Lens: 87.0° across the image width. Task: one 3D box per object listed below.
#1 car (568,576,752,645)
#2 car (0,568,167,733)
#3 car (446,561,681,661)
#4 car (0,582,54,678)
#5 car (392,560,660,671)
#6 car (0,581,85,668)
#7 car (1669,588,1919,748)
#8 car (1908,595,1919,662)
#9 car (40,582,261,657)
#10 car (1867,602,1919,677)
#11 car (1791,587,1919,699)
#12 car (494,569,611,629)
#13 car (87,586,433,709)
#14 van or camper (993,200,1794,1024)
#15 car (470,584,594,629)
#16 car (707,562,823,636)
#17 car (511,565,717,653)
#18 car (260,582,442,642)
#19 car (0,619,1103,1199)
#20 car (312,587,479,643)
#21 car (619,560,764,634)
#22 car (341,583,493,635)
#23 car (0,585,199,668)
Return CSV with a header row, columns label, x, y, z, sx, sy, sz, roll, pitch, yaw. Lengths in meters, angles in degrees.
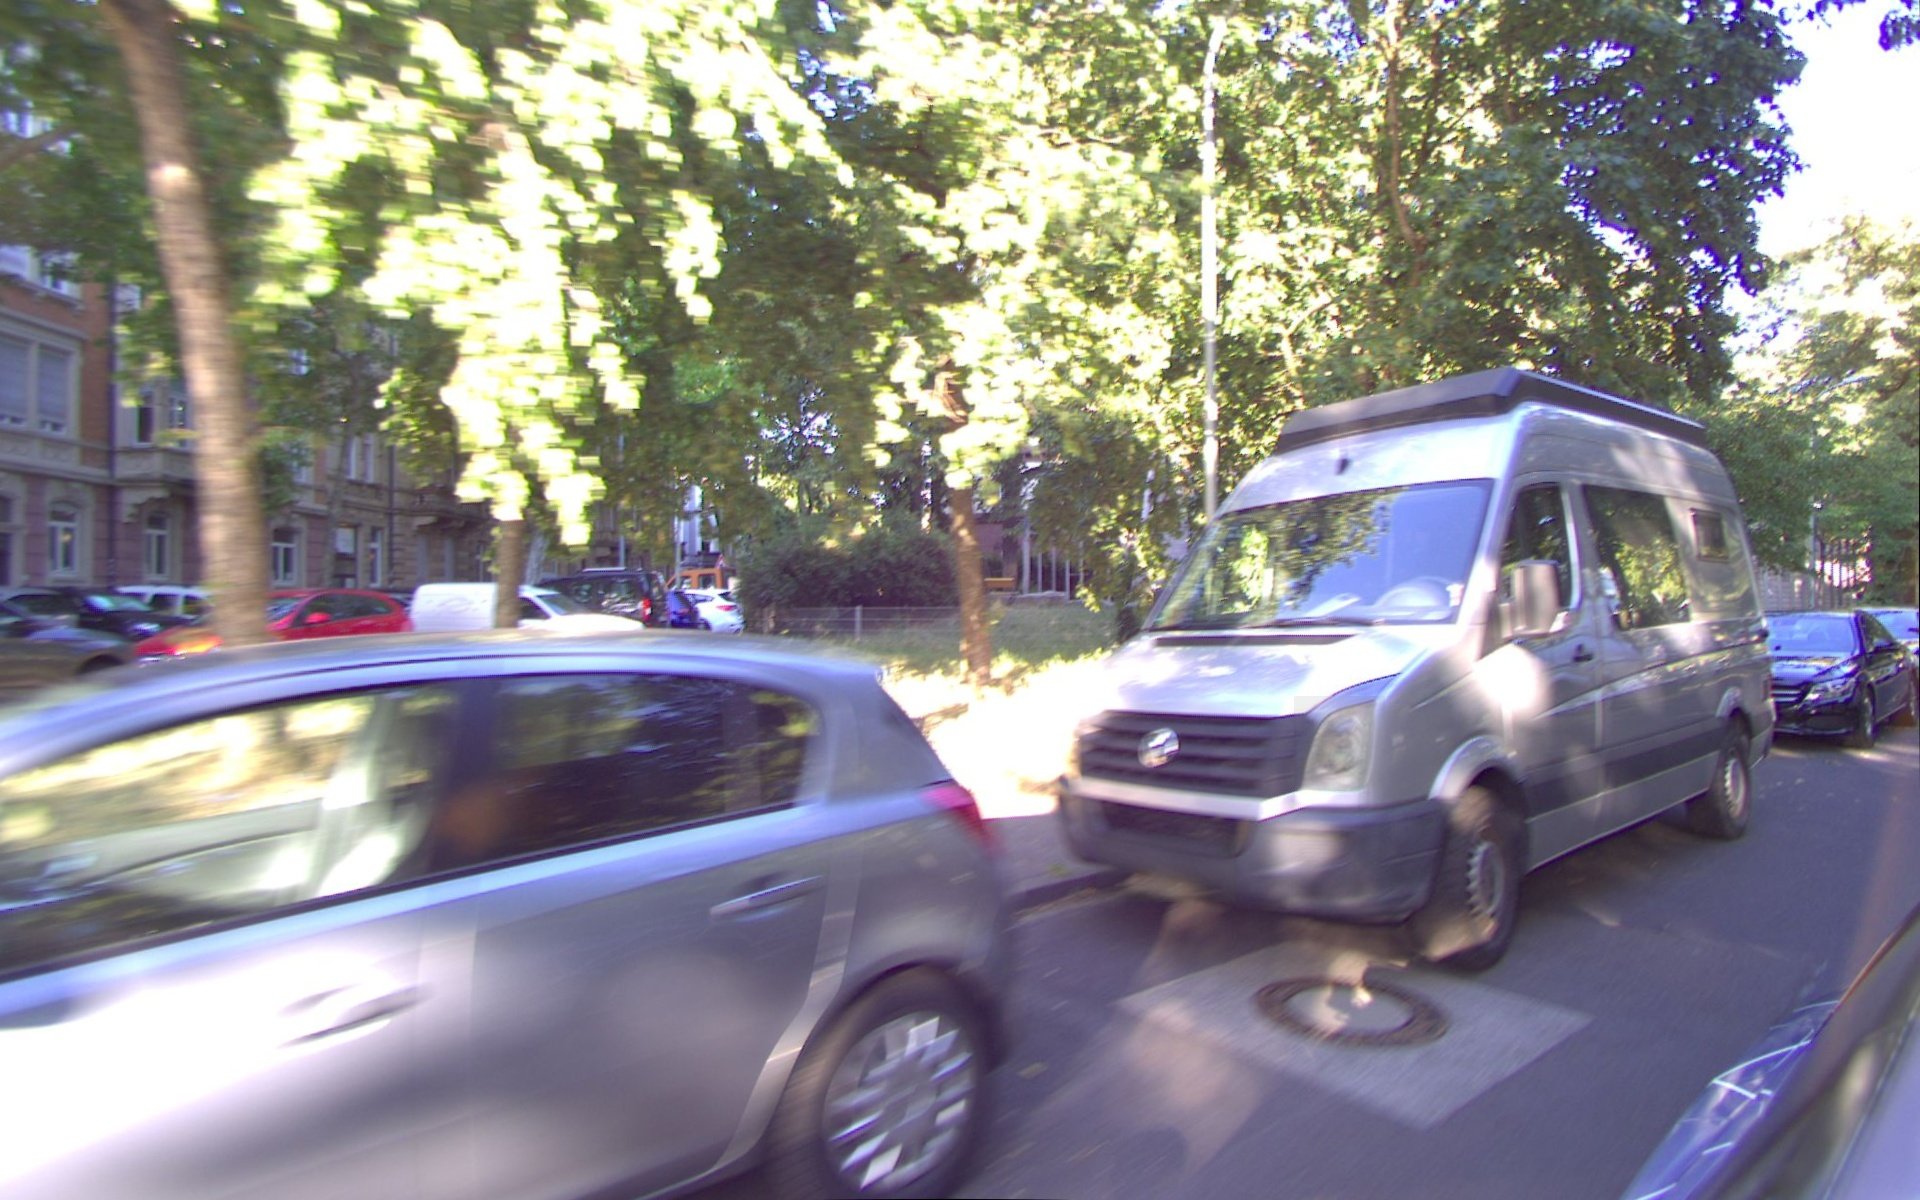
label,x,y,z,sx,sy,sz,roll,pitch,yaw
car,-7.950,0.272,27.014,4.324,1.511,1.784,-4,-1,5
car,-10.034,0.534,9.412,1.712,1.571,4.270,-3,0,5
car,-8.487,0.235,21.867,4.323,1.799,1.784,-4,-1,5
car,-18.151,0.509,17.201,3.702,1.638,1.911,0,0,-5
car,-8.139,0.294,19.180,4.324,1.729,1.731,-4,-1,5
car,-19.290,0.447,19.363,3.576,1.616,1.652,0,0,-4
car,9.977,0.662,11.841,4.410,1.545,1.683,0,-1,-40
car,22.596,0.604,22.532,4.577,1.442,1.683,0,-1,-41
car,-19.804,0.454,24.822,4.412,1.651,1.729,1,-1,10
car,18.401,0.687,18.955,4.214,1.299,1.682,0,-1,-42
car,14.501,0.606,15.748,4.211,1.545,1.683,0,-1,-40
car,-18.313,-0.026,45.644,4.501,2.534,1.736,2,-1,-3
car,-9.836,0.571,14.778,1.712,1.467,4.643,-2,0,2
van or camper,3.021,0.042,6.104,5.742,2.798,2.088,0,-1,-40
car,-18.194,0.271,43.161,4.501,1.788,1.736,2,-1,-3
car,-8.116,-0.052,42.291,4.552,3.005,1.607,0,-1,0
car,-8.352,0.225,24.621,4.323,1.799,1.784,-4,-1,5
car,-18.337,0.369,30.630,4.396,1.651,1.736,2,-1,-3
car,-1.637,0.825,2.316,3.800,1.465,1.684,0,-3,-37
car,-18.181,0.459,32.725,4.396,1.651,1.736,2,0,-3
car,-9.103,-0.103,34.568,4.552,2.443,1.607,0,0,0
car,-19.102,0.313,35.736,4.396,1.651,1.736,2,-1,-3
car,-19.326,0.538,21.846,4.396,1.651,1.736,2,-1,-3
